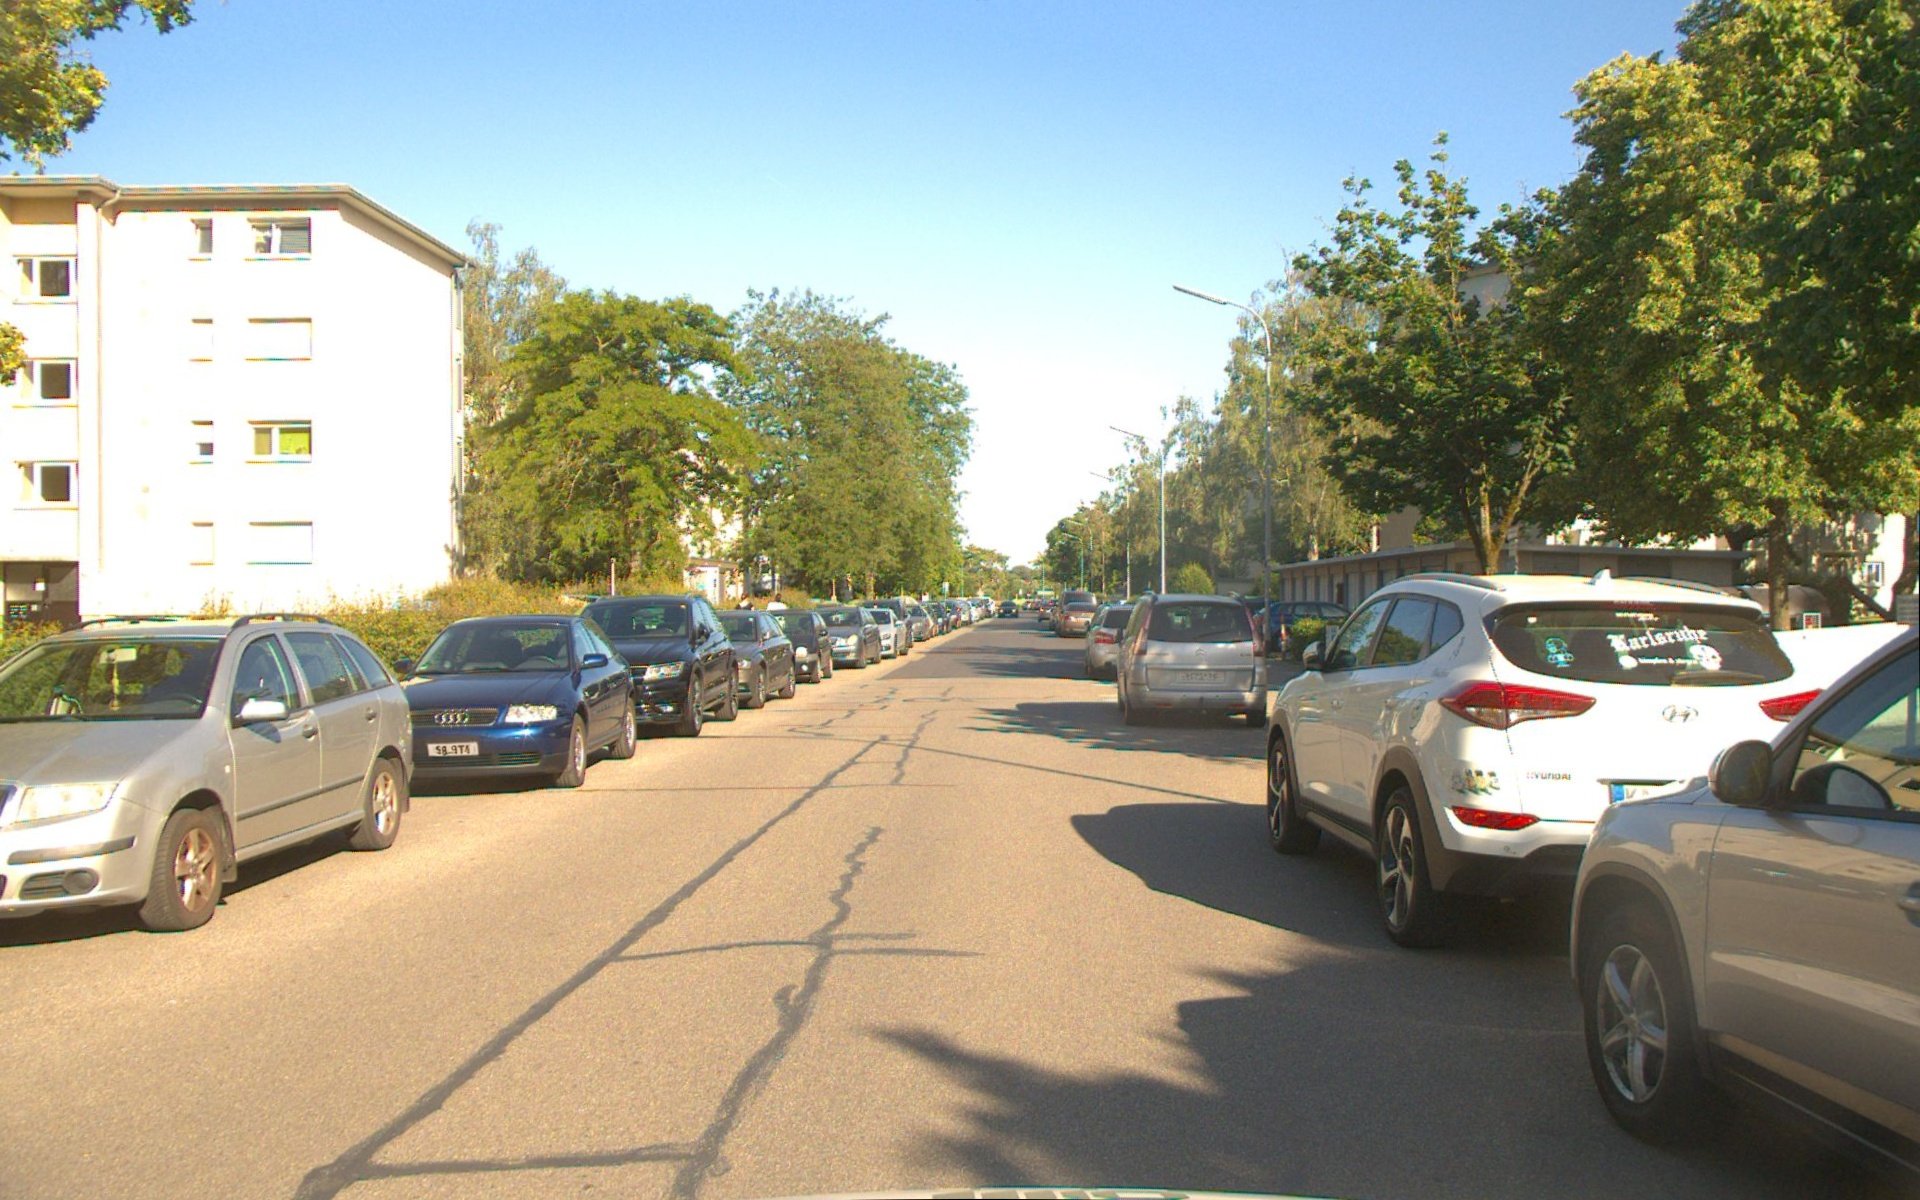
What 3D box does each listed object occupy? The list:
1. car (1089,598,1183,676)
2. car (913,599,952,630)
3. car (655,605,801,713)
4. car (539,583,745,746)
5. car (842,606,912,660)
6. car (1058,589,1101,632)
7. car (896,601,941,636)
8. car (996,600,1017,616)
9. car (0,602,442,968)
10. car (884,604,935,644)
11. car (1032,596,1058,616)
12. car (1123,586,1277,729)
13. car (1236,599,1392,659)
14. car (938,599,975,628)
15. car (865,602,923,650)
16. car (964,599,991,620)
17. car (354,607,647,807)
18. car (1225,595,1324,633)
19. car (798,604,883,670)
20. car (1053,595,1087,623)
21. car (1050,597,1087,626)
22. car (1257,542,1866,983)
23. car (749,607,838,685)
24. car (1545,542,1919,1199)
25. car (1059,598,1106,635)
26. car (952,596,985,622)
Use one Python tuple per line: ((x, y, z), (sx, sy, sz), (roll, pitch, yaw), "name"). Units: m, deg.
((3.625, 0.720, 34.346), (1.785, 1.492, 4.236), (-1, 0, 5), "car")
((-1.262, 0.651, 77.314), (1.478, 1.352, 3.469), (-2, 0, 5), "car")
((-3.492, 0.853, 25.521), (1.626, 1.464, 3.760), (-2, 0, 1), "car")
((-3.745, 0.701, 20.131), (1.626, 1.718, 4.049), (-2, 0, 1), "car")
((-2.306, 0.908, 46.708), (1.478, 1.388, 3.469), (-2, 0, 5), "car")
((5.424, 0.444, 75.553), (1.786, 1.834, 4.235), (1, 1, 2), "car")
((-1.697, 0.759, 68.630), (1.478, 1.352, 3.469), (-2, 0, 5), "car")
((4.321, 0.716, 154.091), (1.904, 1.312, 4.235), (1, 1, 2), "car")
((-4.320, 0.802, 9.003), (1.626, 1.512, 4.053), (-2, 0, 1), "car")
((-1.893, 0.875, 62.760), (1.478, 1.405, 3.469), (-2, 0, 5), "car")
((6.229, 0.424, 120.864), (1.786, 1.348, 4.236), (1, 1, 4), "car")
((3.074, 0.689, 21.905), (1.785, 1.686, 4.236), (1, 0, 5), "car")
((10.096, 0.808, 47.425), (4.131, 1.621, 1.831), (1, 0, 3), "car")
((-0.170, 0.770, 94.709), (1.786, 1.491, 4.236), (1, 1, 4), "car")
((-2.141, 0.835, 54.432), (1.478, 1.459, 3.469), (-2, 0, 5), "car")
((1.349, 0.730, 127.700), (1.786, 1.491, 4.236), (1, 1, 4), "car")
((-3.910, 0.825, 14.727), (1.627, 1.451, 4.046), (-2, 0, -3), "car")
((13.932, 0.638, 73.410), (4.131, 1.557, 1.830), (1, -3, 3), "car")
((-2.875, 0.869, 40.422), (1.478, 1.476, 3.693), (-2, 0, 5), "car")
((6.361, 0.518, 96.129), (1.786, 1.491, 4.235), (1, 1, 2), "car")
((5.694, 0.634, 87.241), (1.786, 1.492, 4.234), (1, -1, 2), "car")
((2.766, 0.646, 8.672), (1.619, 1.728, 4.233), (1, 0, 0), "car")
((-3.331, 0.900, 33.461), (1.360, 1.438, 3.126), (-2, 0, 1), "car")
((2.876, 0.712, 3.415), (1.695, 1.647, 4.231), (1, 0, -2), "car")
((5.138, 0.689, 69.868), (1.786, 1.492, 4.234), (0, 0, 2), "car")
((0.568, 0.570, 105.057), (1.786, 1.491, 4.236), (1, 1, 4), "car")
